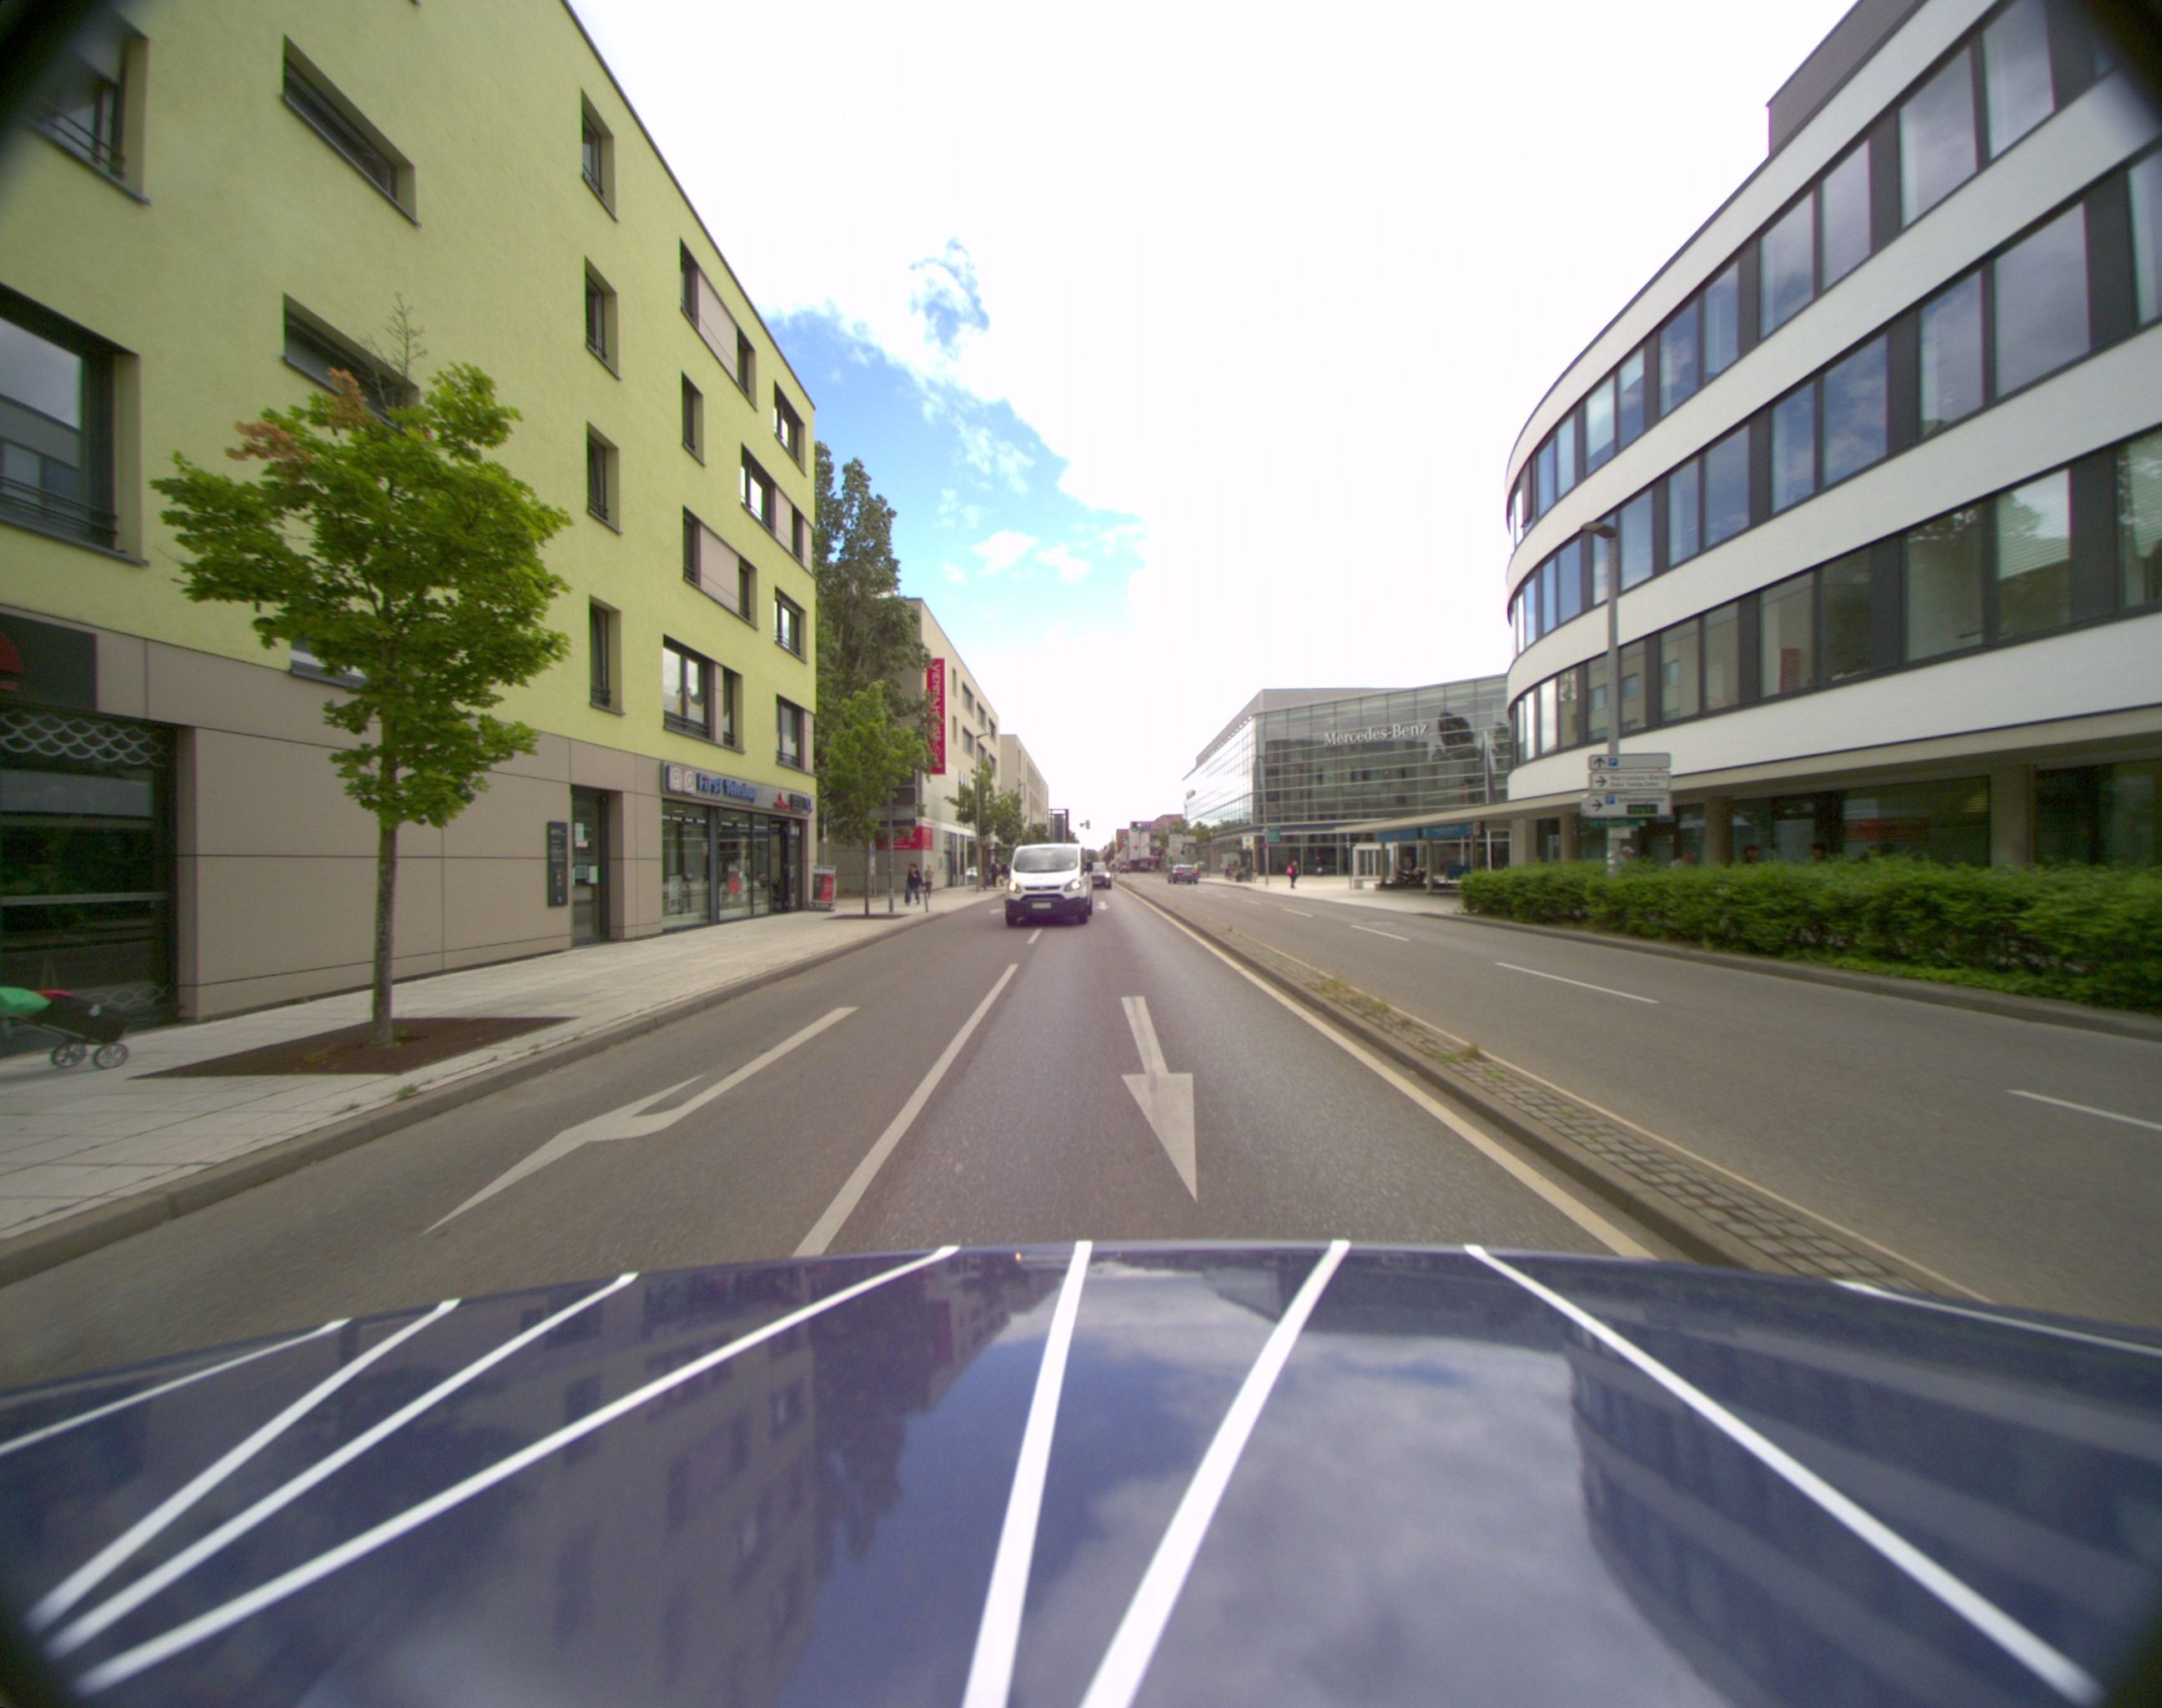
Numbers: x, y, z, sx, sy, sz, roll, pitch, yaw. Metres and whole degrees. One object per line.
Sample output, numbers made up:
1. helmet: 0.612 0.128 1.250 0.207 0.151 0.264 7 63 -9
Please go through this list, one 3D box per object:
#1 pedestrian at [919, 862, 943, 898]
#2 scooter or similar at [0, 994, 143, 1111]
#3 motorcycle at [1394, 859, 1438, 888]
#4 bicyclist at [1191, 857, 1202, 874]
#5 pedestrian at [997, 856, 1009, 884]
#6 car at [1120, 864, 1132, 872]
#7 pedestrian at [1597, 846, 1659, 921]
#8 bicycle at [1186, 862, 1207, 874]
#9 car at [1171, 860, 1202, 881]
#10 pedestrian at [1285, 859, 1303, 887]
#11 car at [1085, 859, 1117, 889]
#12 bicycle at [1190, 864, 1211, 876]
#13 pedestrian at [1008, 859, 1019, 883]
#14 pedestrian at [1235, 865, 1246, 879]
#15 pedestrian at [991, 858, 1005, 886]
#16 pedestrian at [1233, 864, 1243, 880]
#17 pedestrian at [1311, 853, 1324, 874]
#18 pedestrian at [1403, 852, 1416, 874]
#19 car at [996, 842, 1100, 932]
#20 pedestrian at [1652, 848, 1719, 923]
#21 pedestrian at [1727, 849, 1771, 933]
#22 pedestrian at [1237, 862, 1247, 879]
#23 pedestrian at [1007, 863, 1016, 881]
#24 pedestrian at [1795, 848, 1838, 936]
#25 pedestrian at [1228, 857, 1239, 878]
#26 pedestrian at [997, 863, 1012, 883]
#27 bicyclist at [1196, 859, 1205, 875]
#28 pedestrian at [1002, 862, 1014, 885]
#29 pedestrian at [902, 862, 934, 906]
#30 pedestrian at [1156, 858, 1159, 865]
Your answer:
1. pedestrian: -6.719 1.170 34.133 0.871 1.574 0.804 -1 0 0
2. scooter or similar: -7.824 1.454 5.683 0.593 0.669 0.824 0 0 0
3. motorcycle: 16.585 0.940 37.645 1.858 1.325 0.636 -3 0 5
4. bicyclist: 12.309 1.233 81.233 0.749 1.789 0.772 -4 0 -45
5. pedestrian: -4.949 0.988 48.093 0.580 1.759 0.857 0 1 6
6. car: 9.001 2.845 152.177 1.803 1.458 3.998 -1 0 -5
7. pedestrian: 12.747 0.677 17.731 0.732 1.664 0.931 -2 0 3
8. bicycle: 12.340 1.512 81.217 0.749 1.199 2.025 -3 0 -45
9. car: 7.993 1.250 58.160 1.901 1.407 4.472 -3 0 3
10. pedestrian: 12.038 1.069 42.963 0.832 1.558 0.813 -2 0 6
11. car: 1.196 1.118 44.329 1.691 1.550 4.745 -2 0 3
12. bicycle: 12.318 1.610 78.347 2.002 1.124 0.639 -3 0 16
13. pedestrian: -4.485 1.097 50.589 0.580 1.581 0.733 0 1 6
14. pedestrian: 12.323 1.425 58.809 0.686 1.069 0.576 1 0 0
15. pedestrian: -5.067 1.089 46.525 0.722 1.674 0.733 0 1 6
16. pedestrian: 12.282 1.377 59.408 0.686 1.246 0.576 0 0 0
17. pedestrian: 22.202 0.927 71.325 0.904 1.934 0.748 -3 1 -38
18. pedestrian: 28.295 0.769 65.431 0.686 1.934 0.749 -2 1 -12
19. car: -0.693 0.754 19.894 1.999 1.976 5.002 -3 0 5
20. pedestrian: 13.541 0.682 17.043 0.732 1.604 0.931 -2 0 3
21. pedestrian: 14.016 0.762 15.941 0.616 1.700 0.505 -1 1 -29
22. pedestrian: 12.314 1.242 58.137 0.686 1.312 0.576 1 0 0
23. pedestrian: -6.385 1.644 69.928 0.746 1.659 0.614 -1 0 1
24. pedestrian: 14.856 0.747 15.353 0.505 1.719 0.616 -1 1 32
25. pedestrian: 12.053 1.070 60.045 0.688 1.621 0.574 0 1 -40
26. pedestrian: -4.948 1.230 49.124 0.945 1.252 0.732 0 1 -2
27. bicyclist: 12.338 1.351 78.343 0.783 1.639 0.639 -3 0 16
28. pedestrian: -5.338 1.418 55.396 0.742 1.599 0.715 -1 0 1
29. pedestrian: -6.089 1.110 28.422 0.949 1.574 1.016 -1 0 0
30. pedestrian: 16.536 1.527 164.239 0.555 1.507 0.582 -1 0 -32
